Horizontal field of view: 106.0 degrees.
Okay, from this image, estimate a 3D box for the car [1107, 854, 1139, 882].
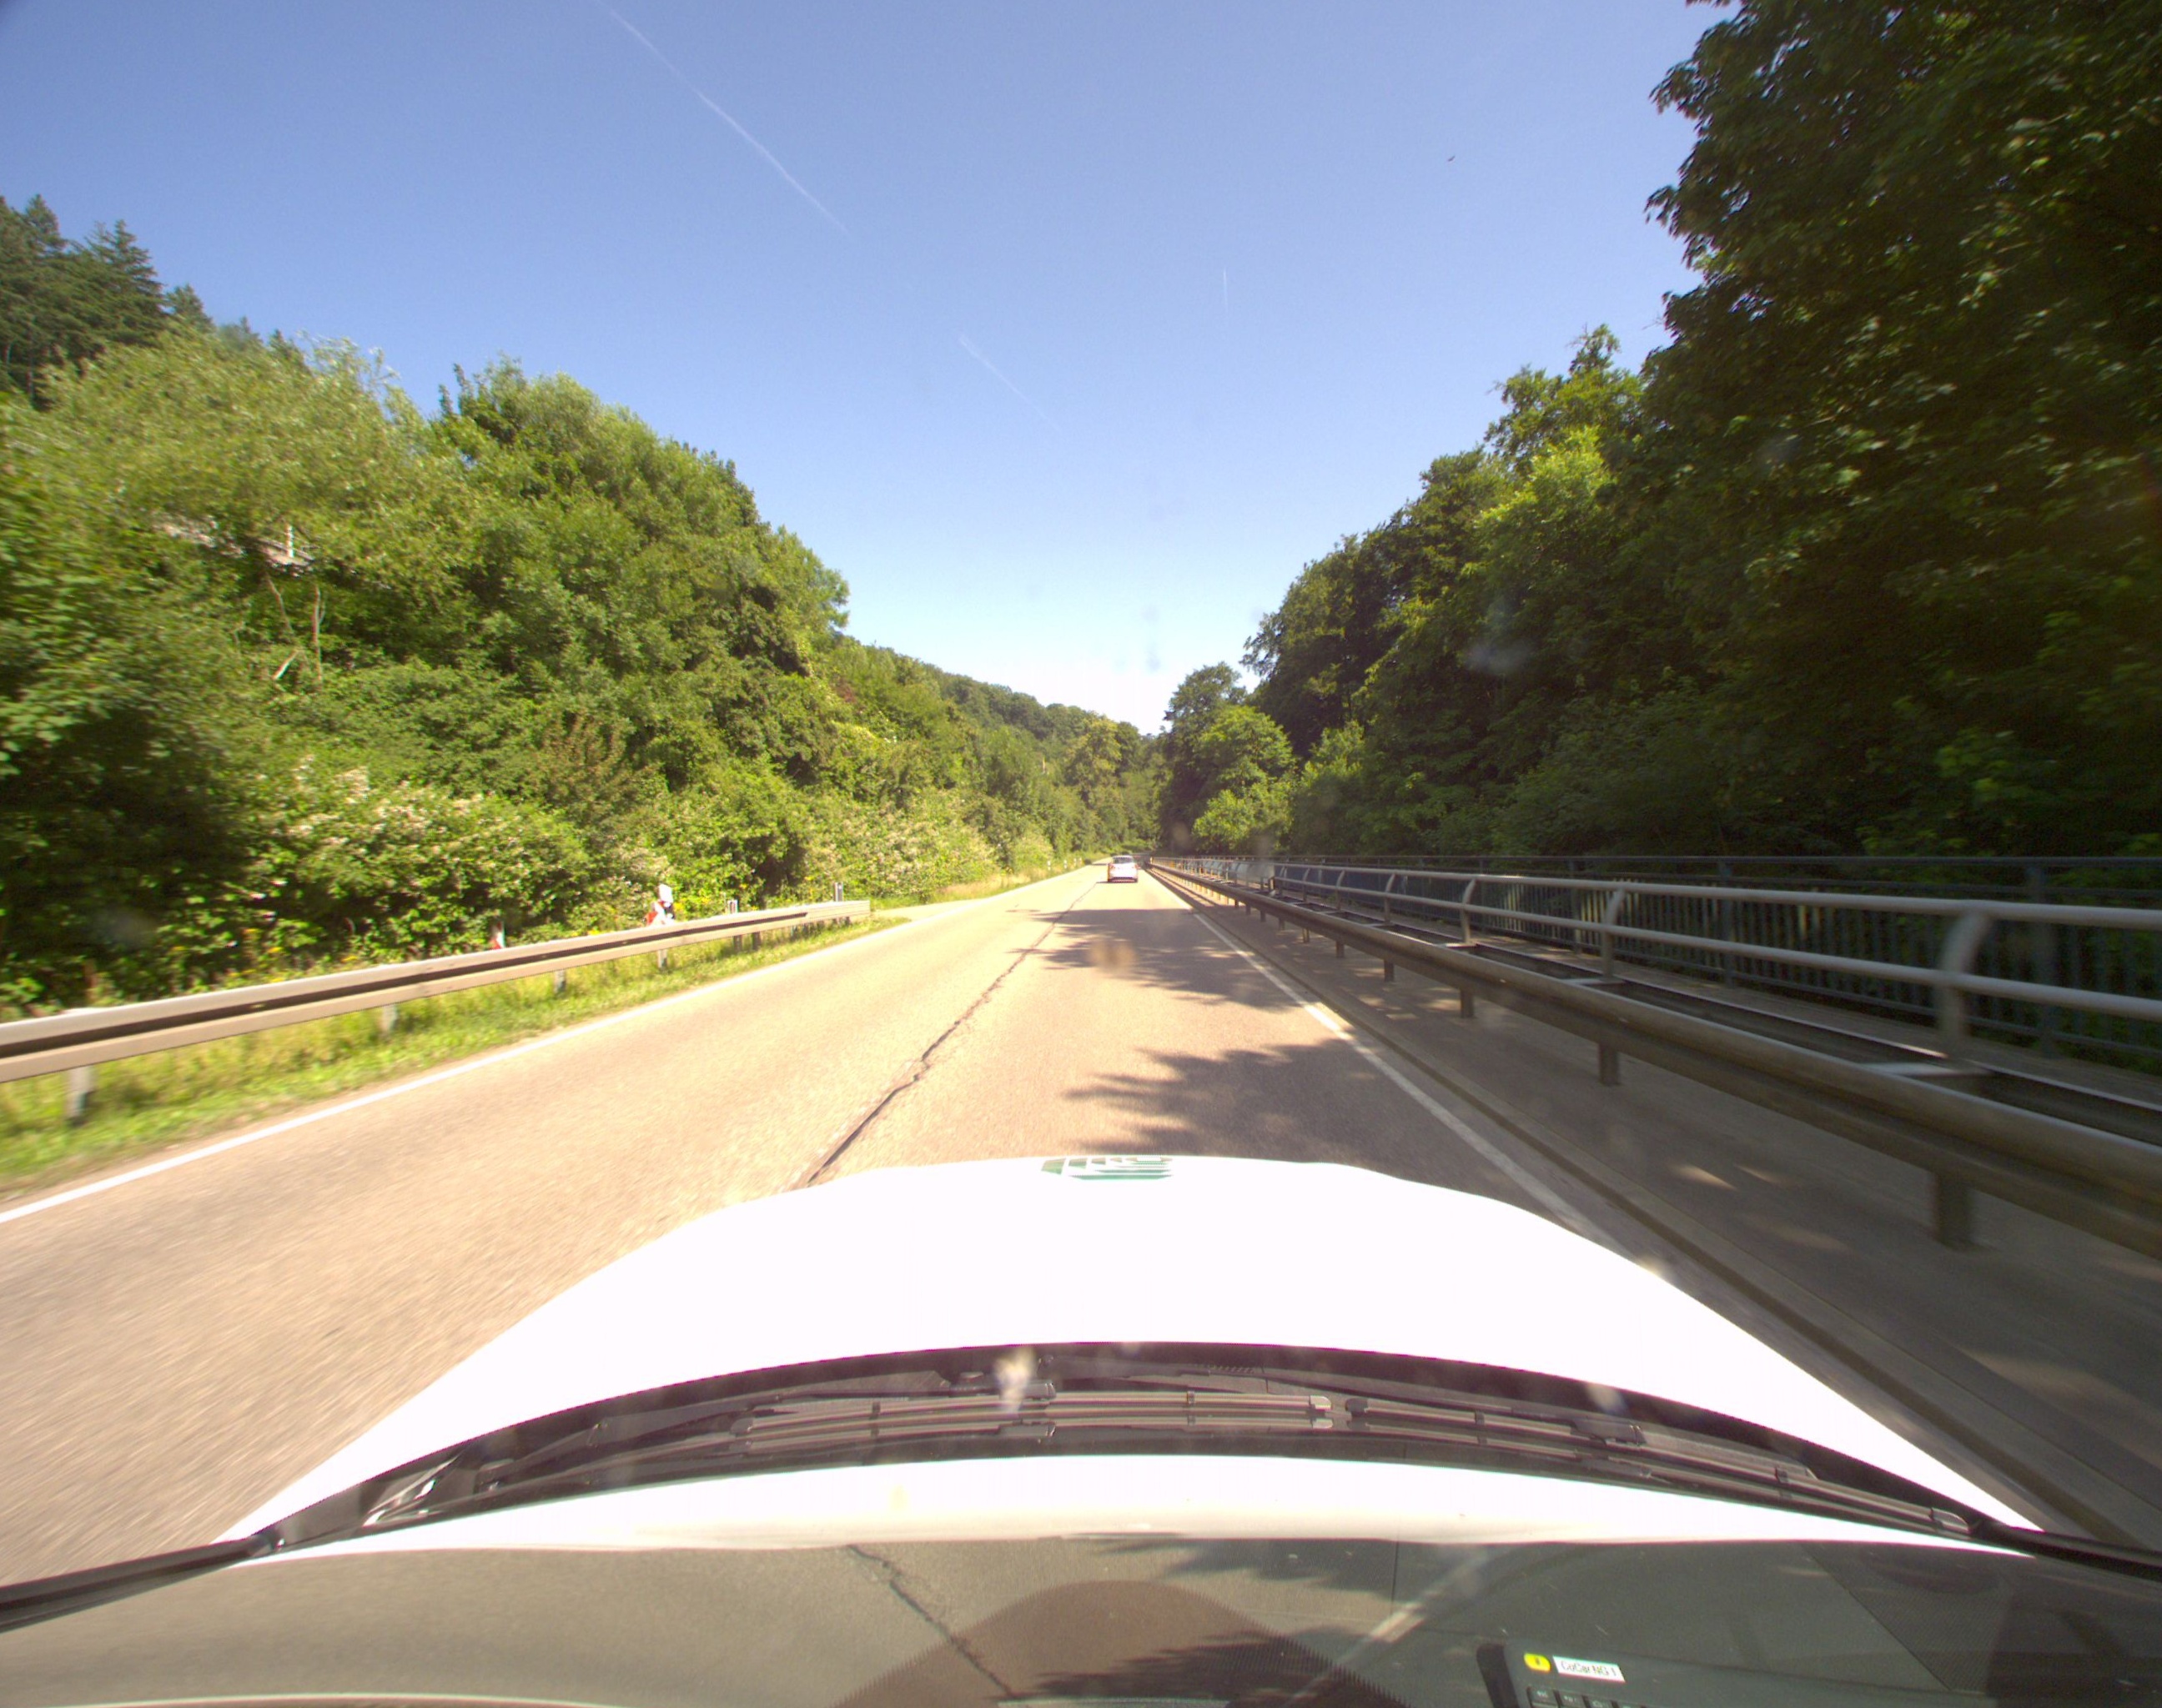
[{"bbox_3d":[2.474,0.763,47.354,1.744,1.520,4.163,-1,0,3],"label":"car"}]
